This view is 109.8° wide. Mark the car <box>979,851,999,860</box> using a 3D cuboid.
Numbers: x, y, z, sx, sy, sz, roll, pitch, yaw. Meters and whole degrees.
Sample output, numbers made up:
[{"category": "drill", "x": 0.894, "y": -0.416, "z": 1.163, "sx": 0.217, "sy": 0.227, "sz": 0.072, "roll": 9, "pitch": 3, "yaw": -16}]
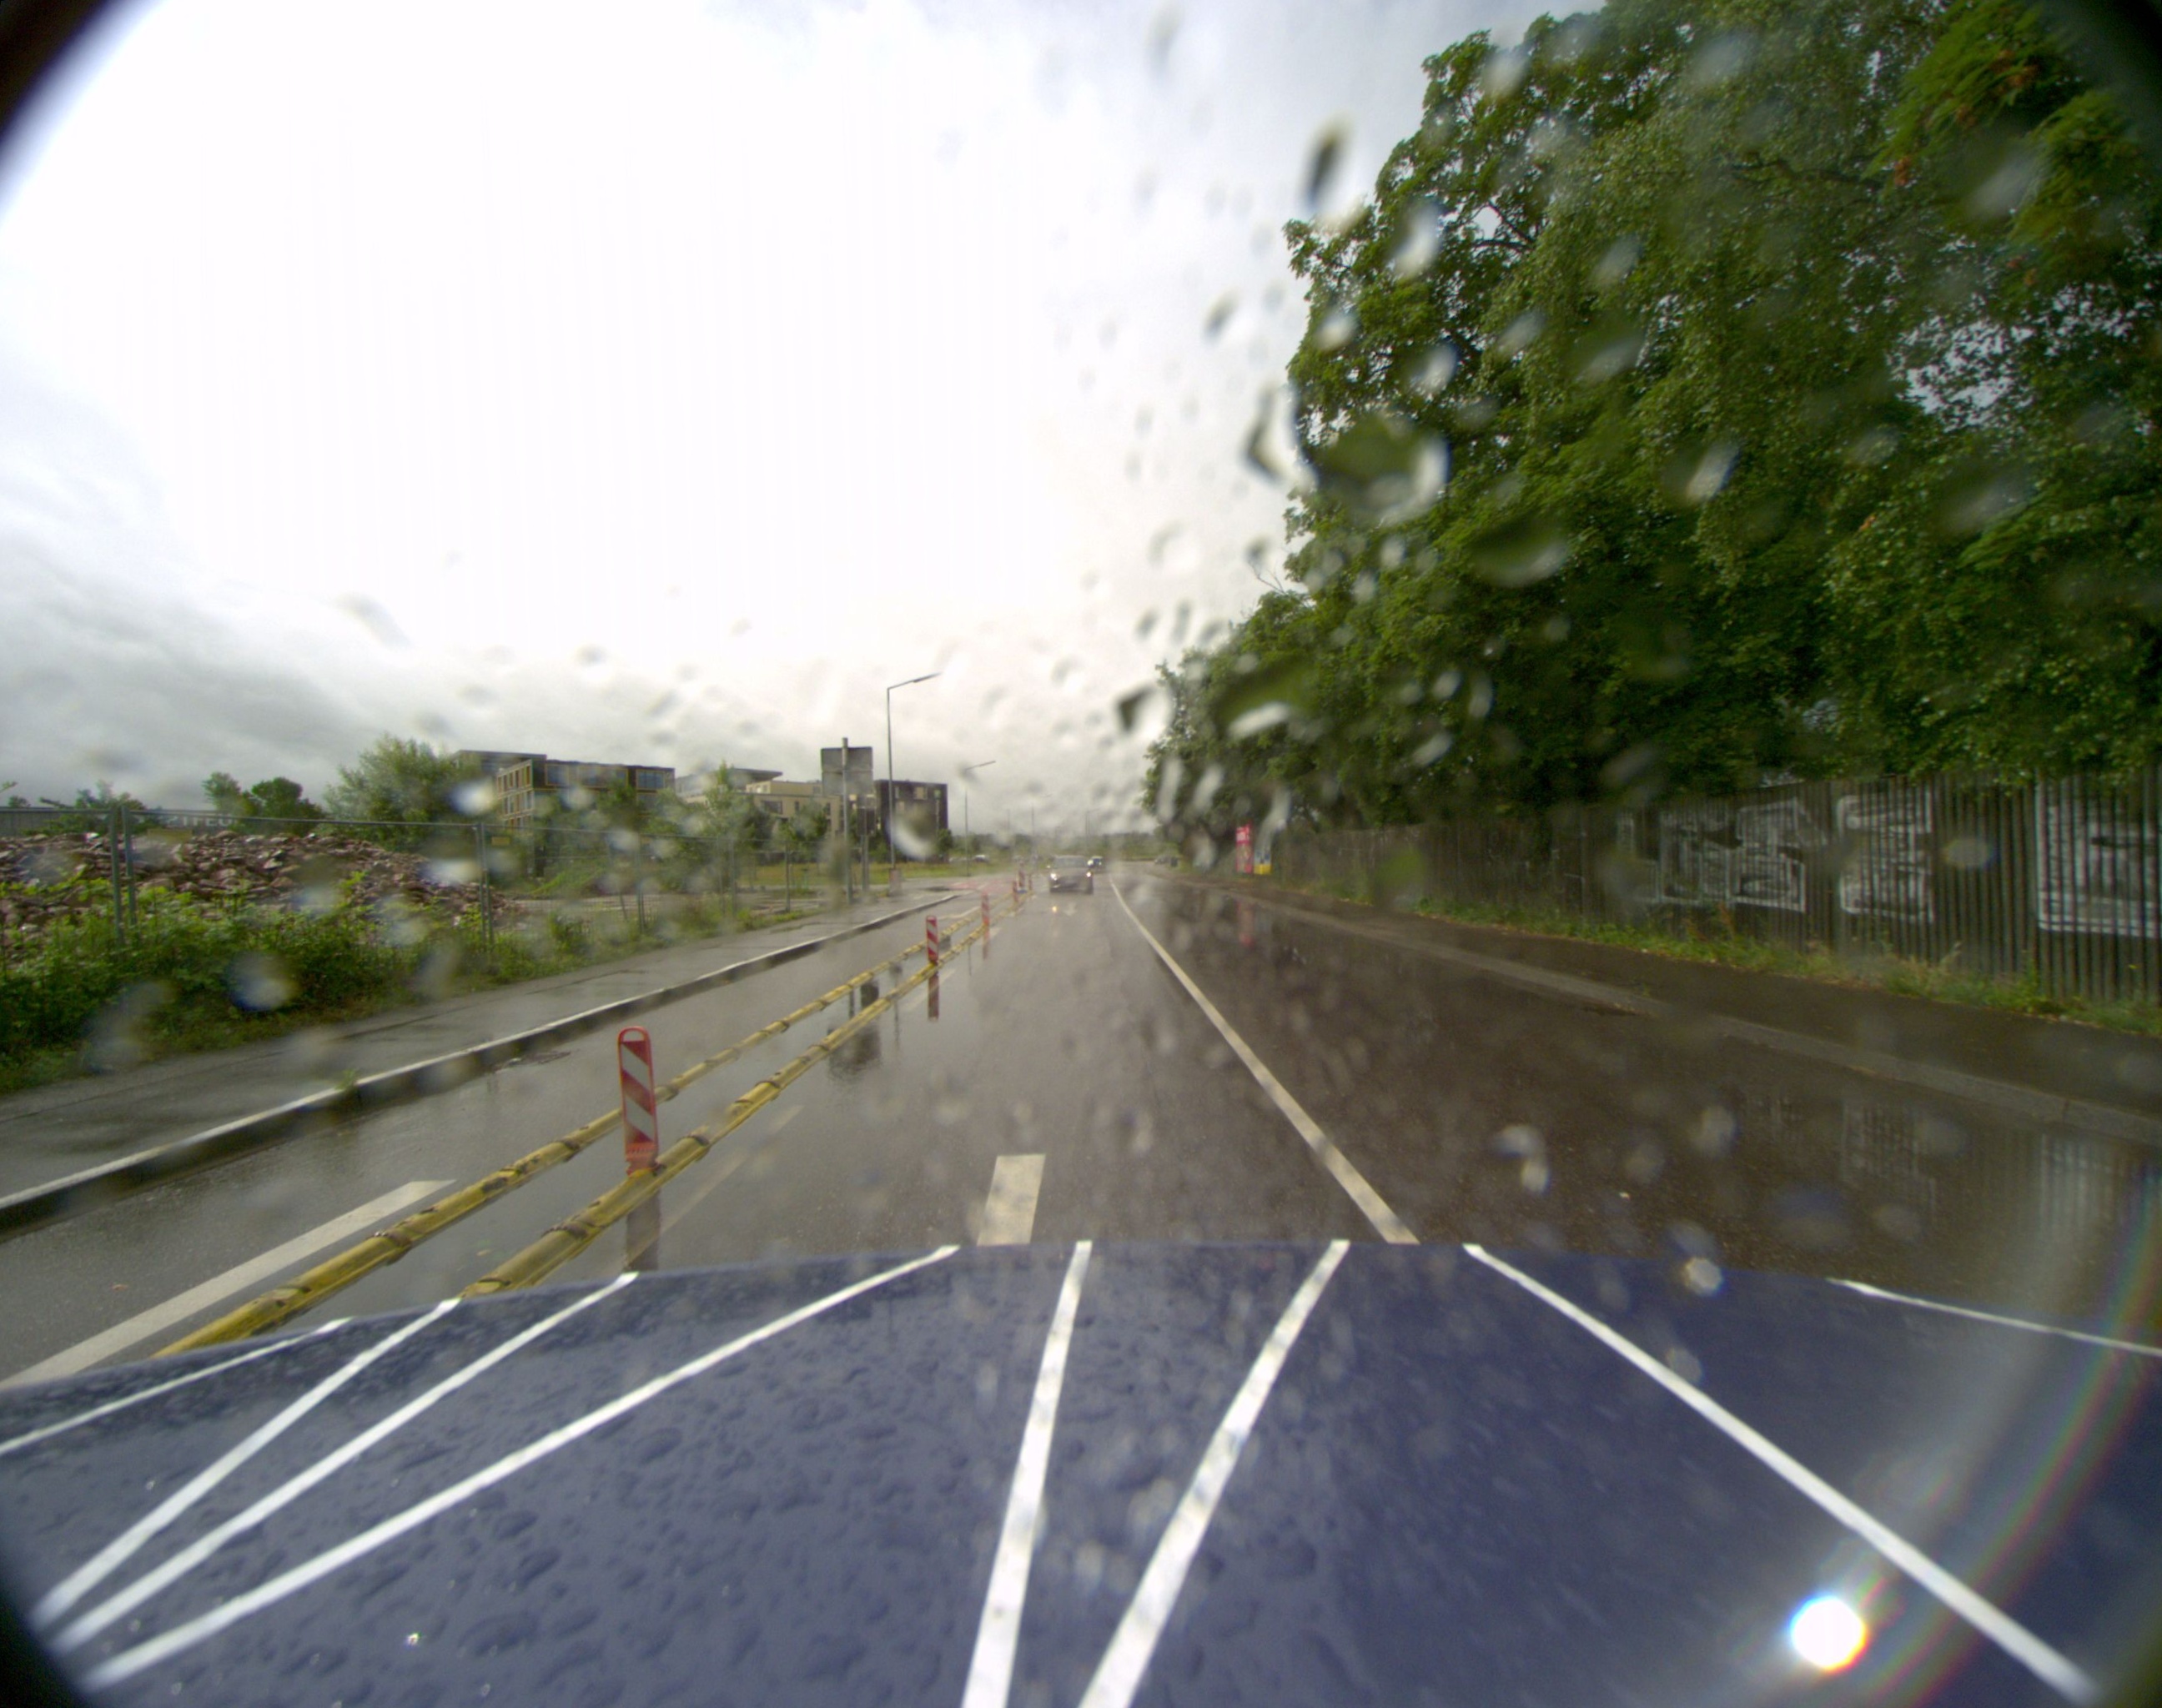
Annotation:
[{"category": "car", "x": -21.522, "y": 0.246, "z": 177.941, "sx": 4.008, "sy": 2.002, "sz": 1.994, "roll": -2, "pitch": 0, "yaw": -44}]

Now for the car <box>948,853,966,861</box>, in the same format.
[{"category": "car", "x": -27.498, "y": 0.605, "z": 168.869, "sx": 3.657, "sy": 1.601, "sz": 1.596, "roll": -2, "pitch": 0, "yaw": -40}]

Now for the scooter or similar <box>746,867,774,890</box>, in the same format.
[{"category": "scooter or similar", "x": -16.401, "y": 1.236, "z": 38.876, "sx": 1.191, "sy": 1.143, "sz": 0.748, "roll": -1, "pitch": 1, "yaw": 33}]

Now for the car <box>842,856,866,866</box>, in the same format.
[{"category": "car", "x": -37.375, "y": 1.093, "z": 125.182, "sx": 1.644, "sy": 1.573, "sz": 3.674, "roll": -2, "pitch": 0, "yaw": 24}]

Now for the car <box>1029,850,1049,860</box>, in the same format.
[{"category": "car", "x": -9.265, "y": 0.174, "z": 167.068, "sx": 3.989, "sy": 2.002, "sz": 2.004, "roll": -1, "pitch": 0, "yaw": 42}]

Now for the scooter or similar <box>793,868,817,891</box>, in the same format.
[{"category": "scooter or similar", "x": -13.736, "y": 1.266, "z": 37.847, "sx": 1.191, "sy": 1.143, "sz": 0.484, "roll": -1, "pitch": 1, "yaw": 34}]

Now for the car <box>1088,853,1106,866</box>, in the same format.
[{"category": "car", "x": 2.094, "y": 0.688, "z": 97.238, "sx": 1.796, "sy": 1.623, "sz": 3.821, "roll": -2, "pitch": 0, "yaw": 9}]

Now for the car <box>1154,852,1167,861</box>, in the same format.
[{"category": "car", "x": 14.033, "y": 0.420, "z": 134.117, "sx": 1.795, "sy": 1.623, "sz": 3.621, "roll": -2, "pitch": 0, "yaw": 11}]

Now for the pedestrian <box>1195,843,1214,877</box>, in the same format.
[{"category": "pedestrian", "x": 6.495, "y": 0.333, "z": 40.009, "sx": 0.841, "sy": 1.759, "sz": 0.644, "roll": -1, "pitch": 1, "yaw": 0}]

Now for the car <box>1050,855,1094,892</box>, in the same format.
[{"category": "car", "x": -0.434, "y": 0.763, "z": 32.110, "sx": 1.724, "sy": 1.423, "sz": 3.817, "roll": -2, "pitch": 0, "yaw": -2}]
